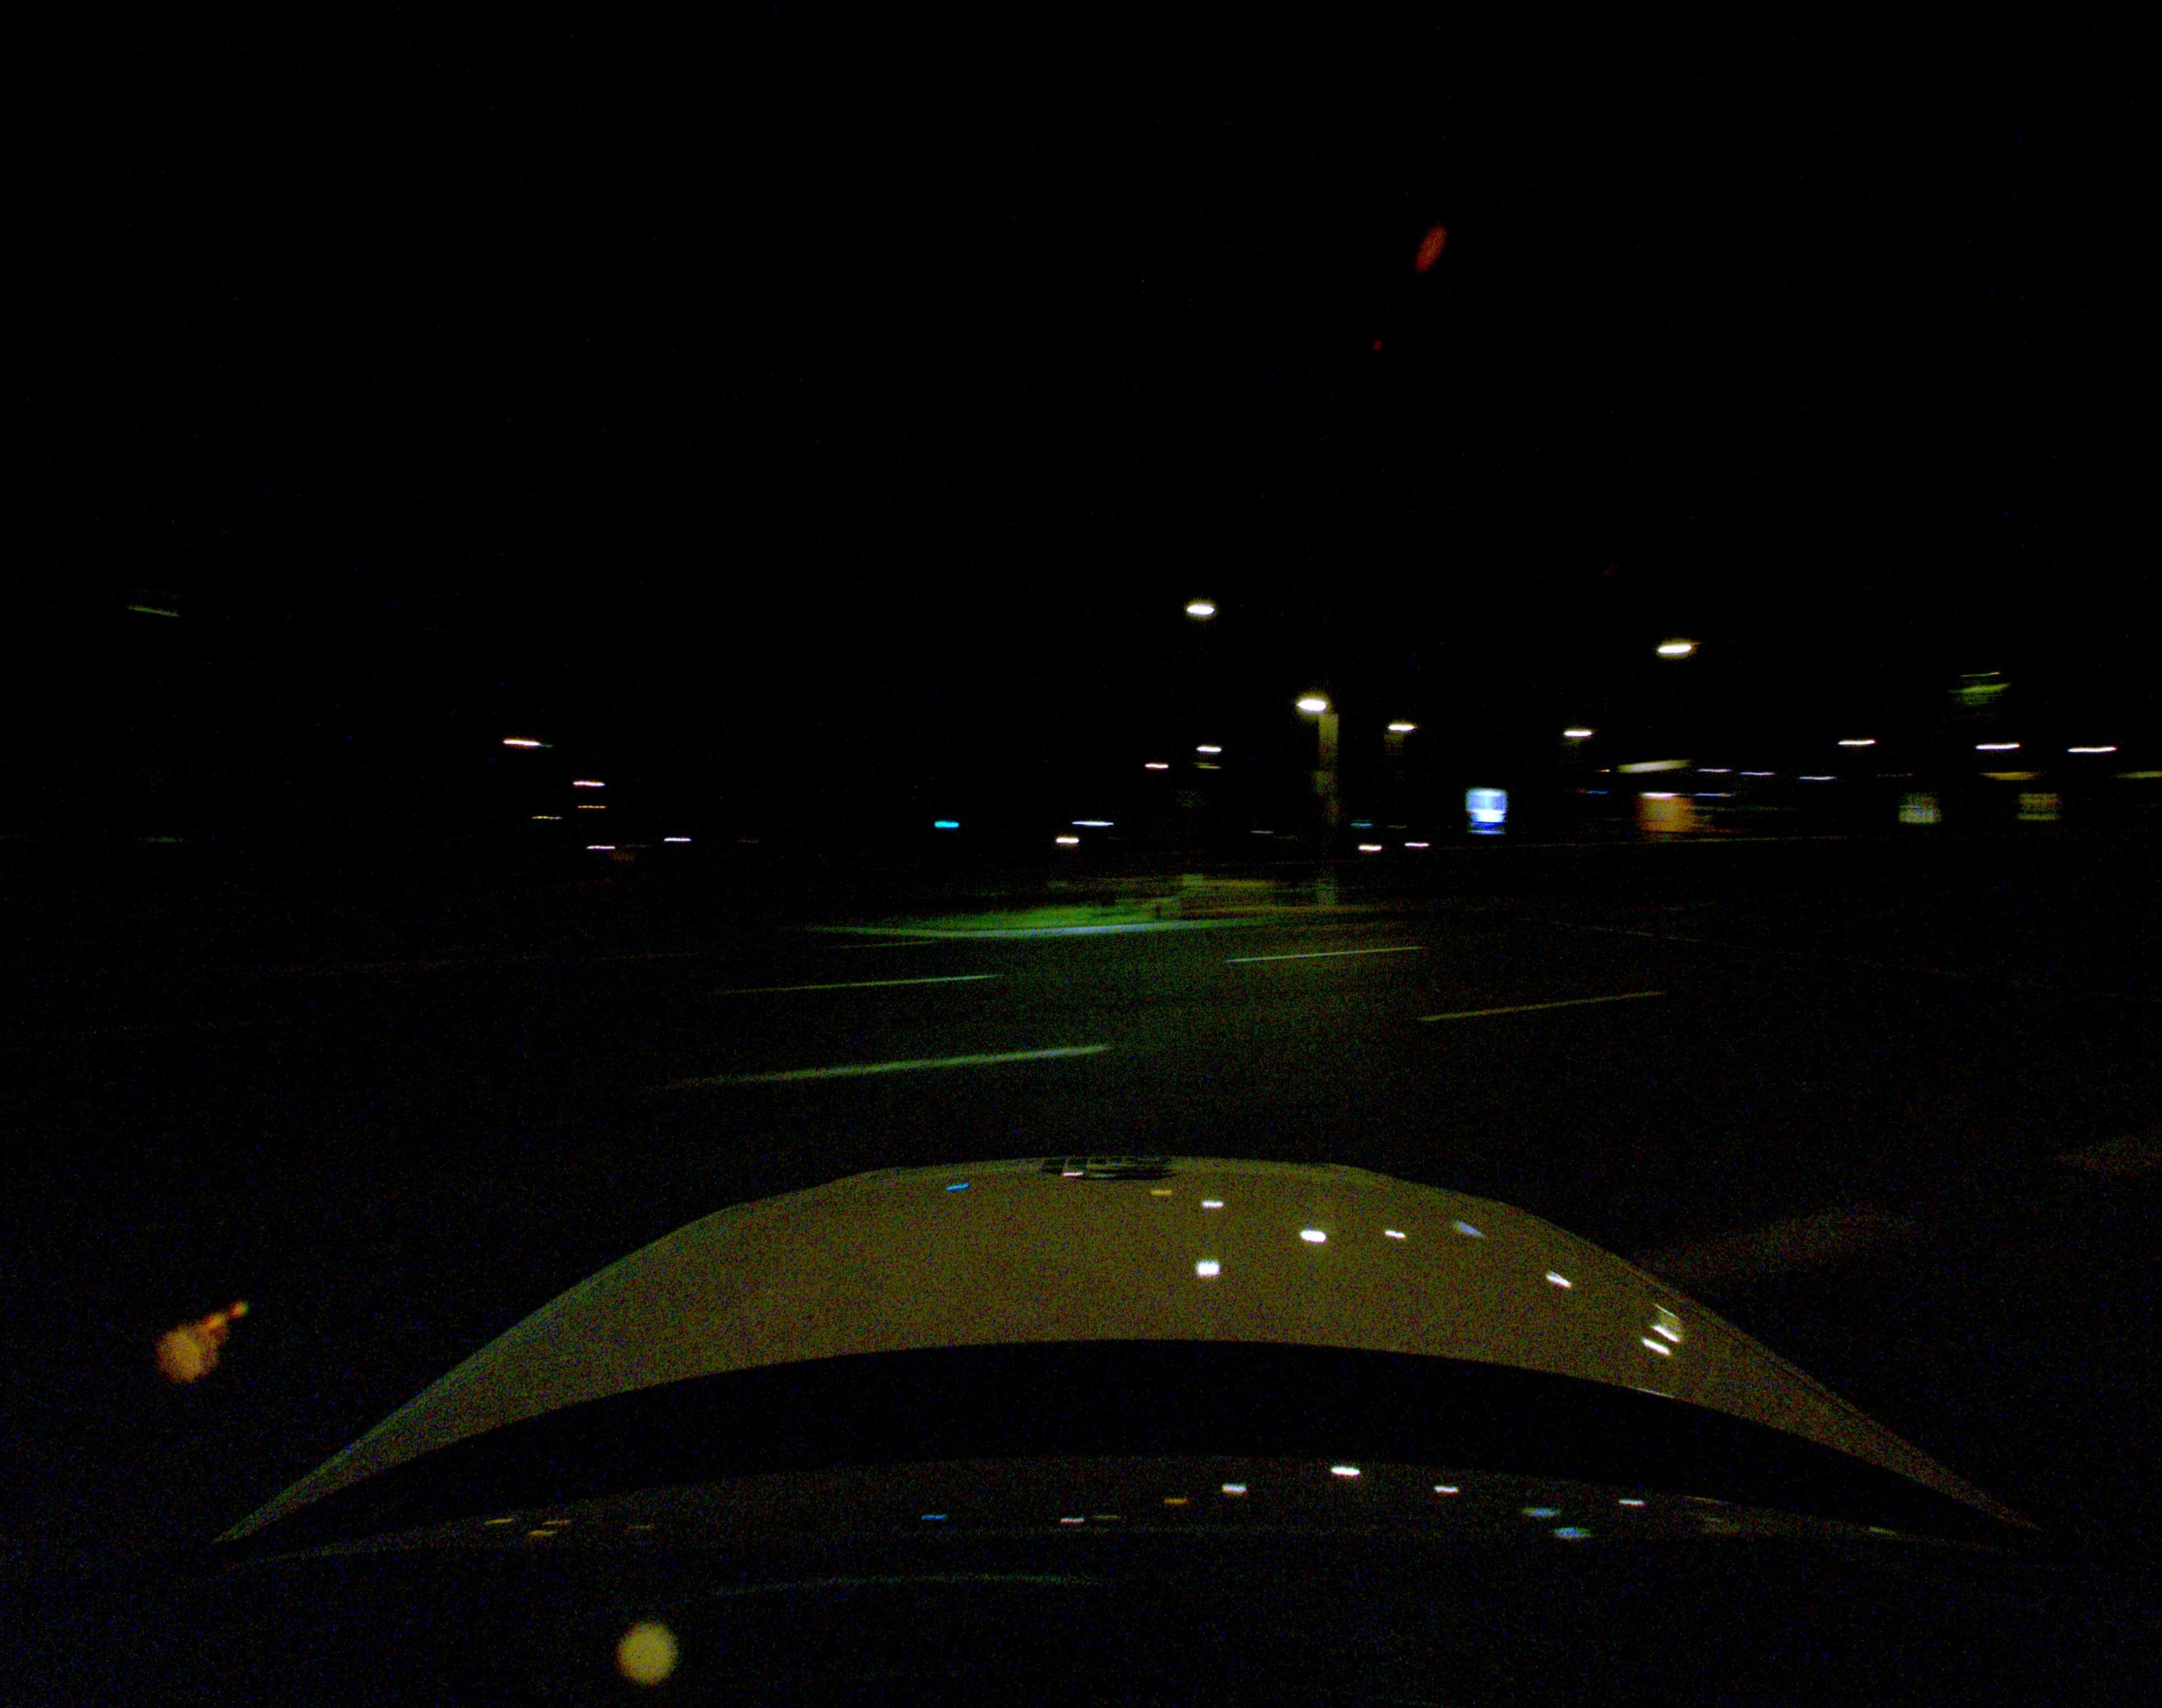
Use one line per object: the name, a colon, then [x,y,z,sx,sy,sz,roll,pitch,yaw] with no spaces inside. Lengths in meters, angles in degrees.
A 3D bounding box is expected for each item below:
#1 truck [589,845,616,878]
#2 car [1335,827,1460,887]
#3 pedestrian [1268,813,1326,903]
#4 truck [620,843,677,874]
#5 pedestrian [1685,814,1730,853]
truck: [-55.024,0.812,93.607,2.599,3.707,5.681,0,0,-31]
car: [11.991,0.096,30.901,3.997,2.013,1.988,-3,0,-18]
pedestrian: [4.403,0.066,16.605,0.758,1.744,0.827,-3,2,-23]
truck: [-65.591,0.619,123.291,4.864,4.547,12.515,0,0,-41]
pedestrian: [25.246,-0.810,32.833,1.133,1.500,1.082,-1,0,17]
